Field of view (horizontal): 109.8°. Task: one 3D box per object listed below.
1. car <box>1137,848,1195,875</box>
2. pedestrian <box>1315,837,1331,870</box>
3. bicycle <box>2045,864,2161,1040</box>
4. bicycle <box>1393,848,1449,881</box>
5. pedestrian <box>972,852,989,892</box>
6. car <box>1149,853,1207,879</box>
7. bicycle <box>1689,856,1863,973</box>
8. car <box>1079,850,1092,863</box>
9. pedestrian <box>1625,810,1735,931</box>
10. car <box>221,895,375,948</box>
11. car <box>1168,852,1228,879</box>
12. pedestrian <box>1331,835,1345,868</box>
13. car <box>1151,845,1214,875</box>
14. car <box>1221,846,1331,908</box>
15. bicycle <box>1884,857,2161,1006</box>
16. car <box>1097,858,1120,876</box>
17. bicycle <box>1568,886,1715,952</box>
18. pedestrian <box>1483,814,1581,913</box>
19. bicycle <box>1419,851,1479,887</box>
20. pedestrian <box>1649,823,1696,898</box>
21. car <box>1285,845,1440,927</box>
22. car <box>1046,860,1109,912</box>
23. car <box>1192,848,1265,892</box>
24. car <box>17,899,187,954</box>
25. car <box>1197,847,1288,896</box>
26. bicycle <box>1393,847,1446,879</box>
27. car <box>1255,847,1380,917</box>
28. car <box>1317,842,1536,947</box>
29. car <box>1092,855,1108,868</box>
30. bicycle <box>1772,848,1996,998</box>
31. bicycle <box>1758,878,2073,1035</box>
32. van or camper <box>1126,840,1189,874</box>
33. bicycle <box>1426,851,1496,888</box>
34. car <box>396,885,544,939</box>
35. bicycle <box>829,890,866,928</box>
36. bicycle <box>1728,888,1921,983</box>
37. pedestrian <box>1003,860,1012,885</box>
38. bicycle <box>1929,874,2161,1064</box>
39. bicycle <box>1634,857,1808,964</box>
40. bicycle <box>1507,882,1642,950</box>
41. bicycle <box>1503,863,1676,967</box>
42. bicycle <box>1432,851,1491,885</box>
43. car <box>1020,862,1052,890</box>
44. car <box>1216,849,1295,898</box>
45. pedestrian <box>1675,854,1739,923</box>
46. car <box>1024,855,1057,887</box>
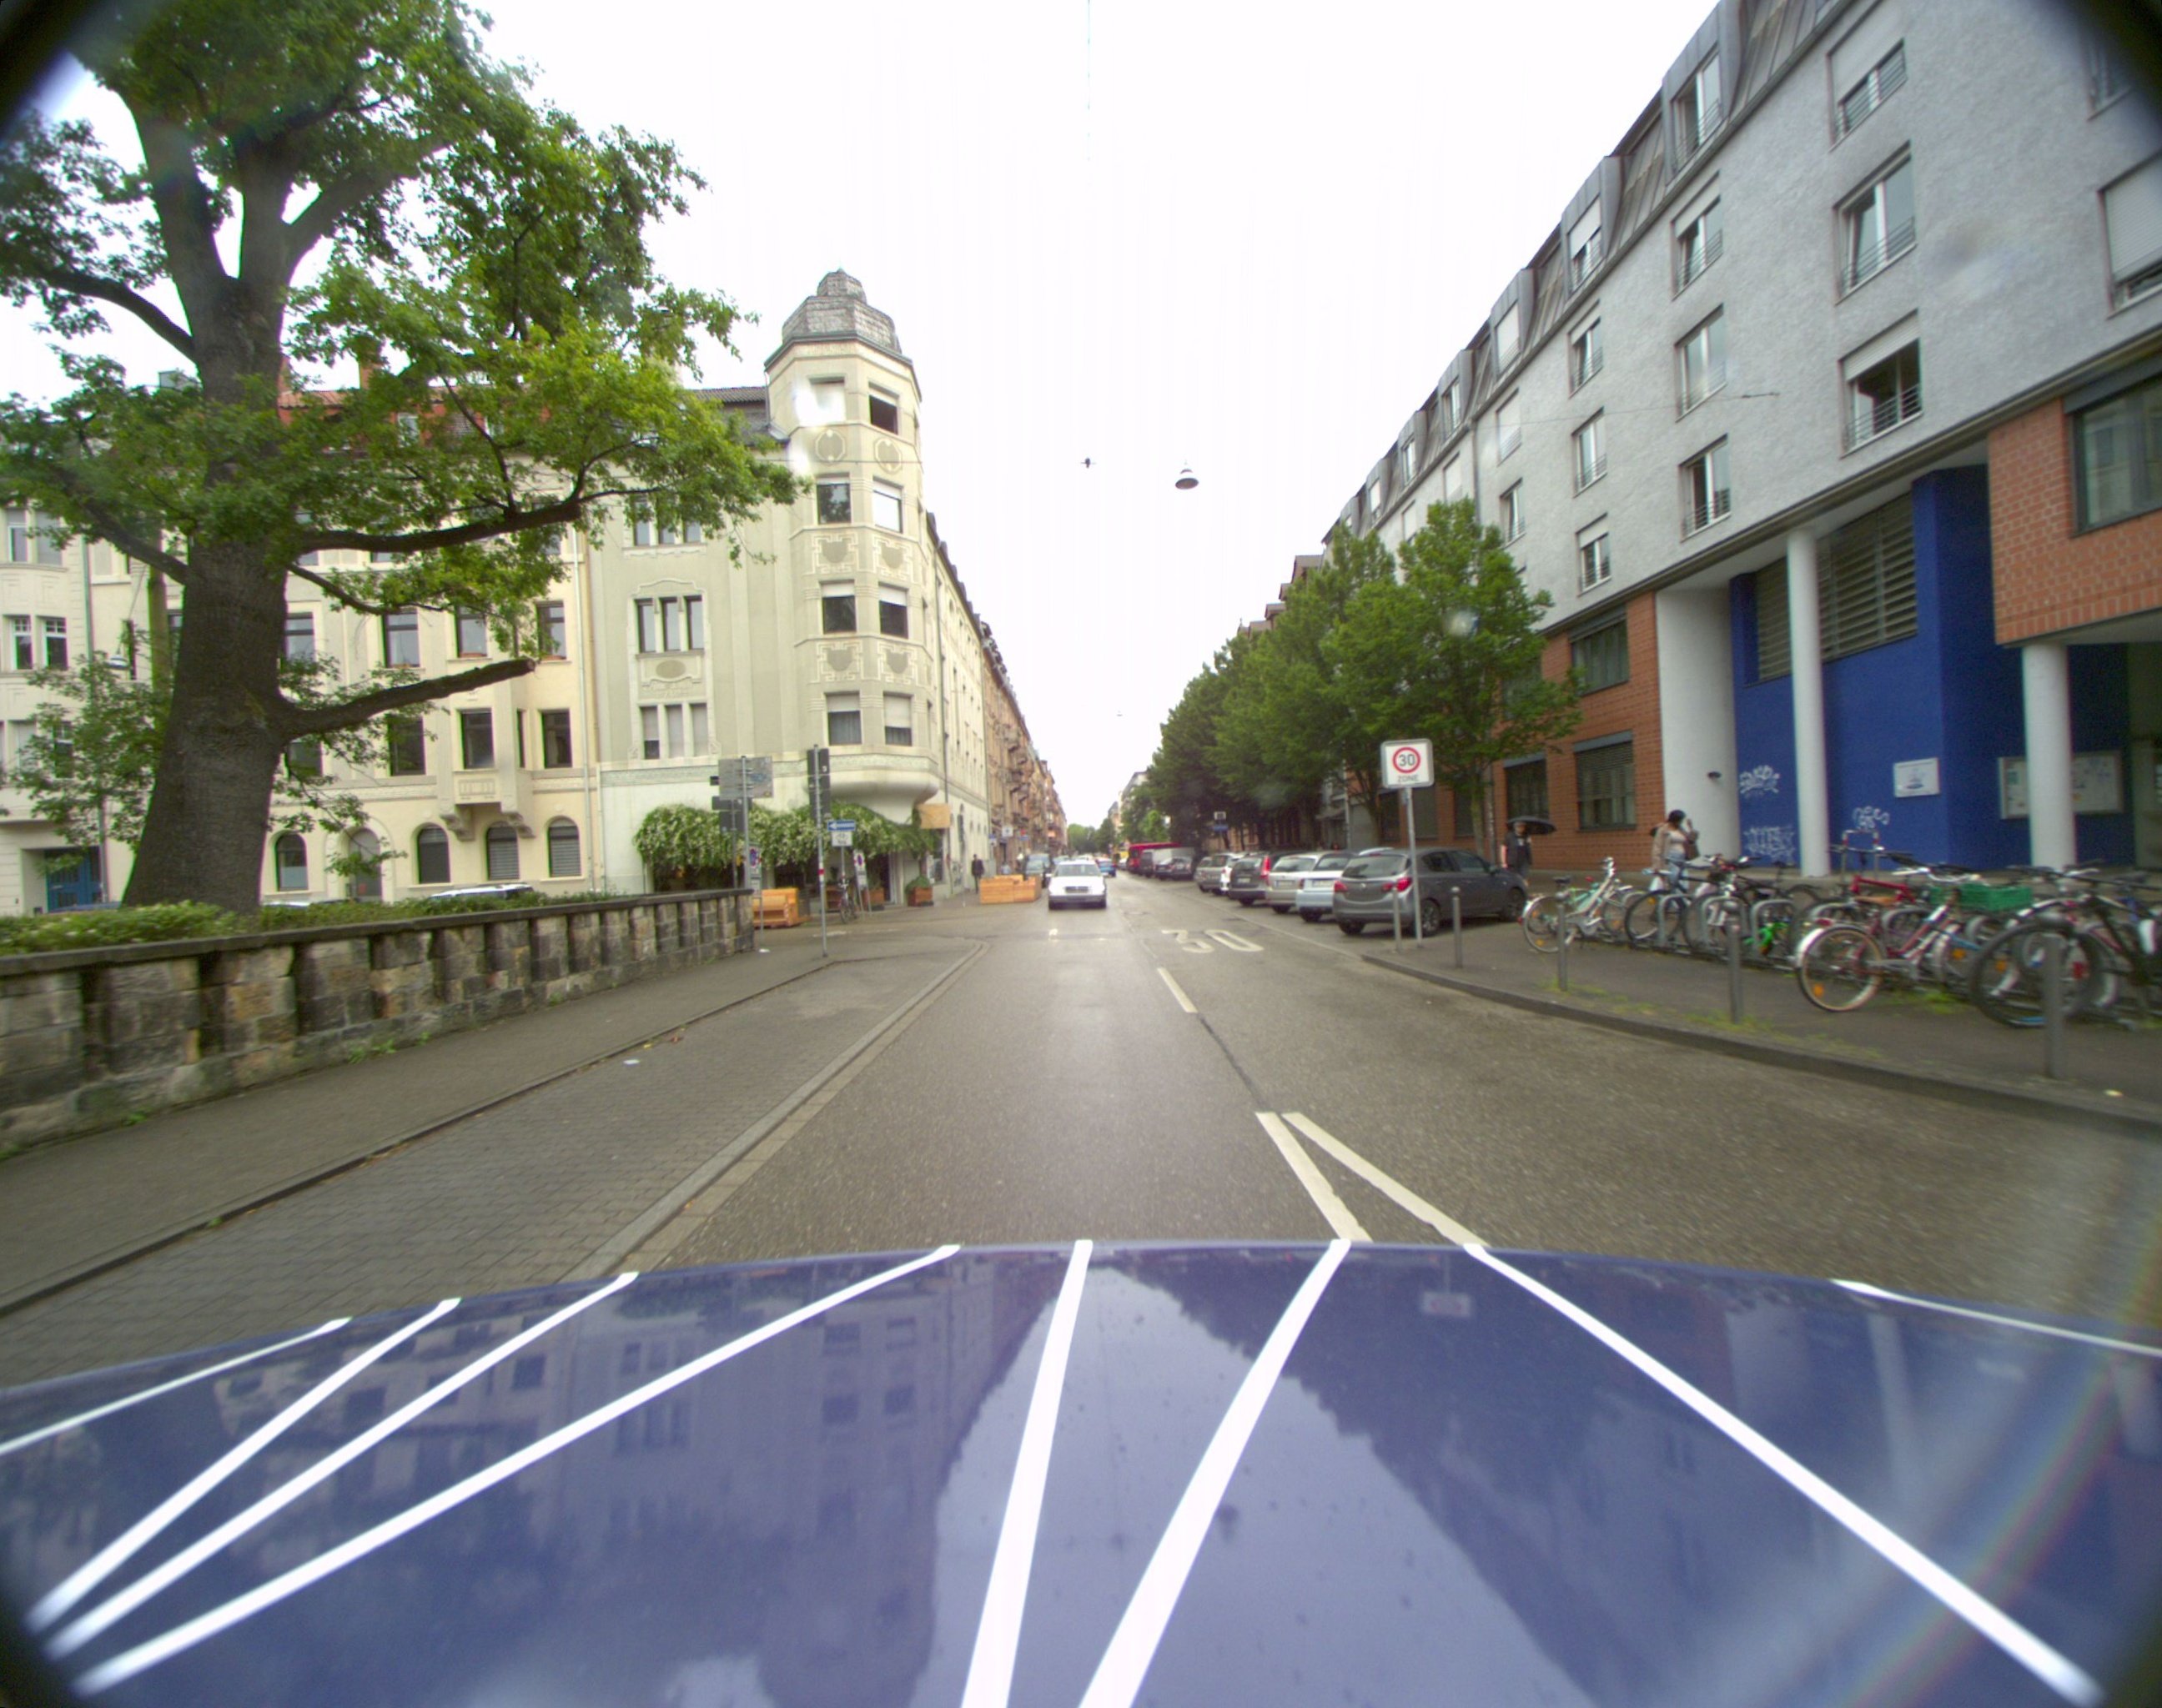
[{"bbox_3d":[6.224,0.554,55.176,4.338,1.822,1.572,-2,0,-40],"label":"car"},{"bbox_3d":[12.015,-0.028,37.710,0.605,1.601,0.372,-2,1,0],"label":"pedestrian"},{"bbox_3d":[7.625,0.647,5.379,1.464,1.058,0.417,-4,1,-15],"label":"bicycle"},{"bbox_3d":[10.931,0.321,24.430,1.590,0.978,0.445,-3,1,-7],"label":"bicycle"},{"bbox_3d":[-4.862,0.859,36.720,0.646,1.862,0.693,-2,1,1],"label":"pedestrian"},{"bbox_3d":[6.086,0.735,47.432,1.685,1.481,3.798,-2,0,41],"label":"car"},{"bbox_3d":[7.548,0.625,8.262,1.611,1.099,0.519,-4,1,-12],"label":"bicycle"},{"bbox_3d":[0.795,0.392,124.046,1.998,2.002,4.000,-2,0,2],"label":"car"},{"bbox_3d":[9.129,0.248,11.622,0.827,1.697,0.859,-7,0,2],"label":"pedestrian"},{"bbox_3d":[-23.794,2.048,23.146,3.270,1.401,1.448,-2,0,4],"label":"car"},{"bbox_3d":[6.977,0.677,44.899,1.685,1.481,3.798,-2,0,41],"label":"car"},{"bbox_3d":[12.738,-0.102,37.647,0.514,1.601,0.425,-2,1,2],"label":"pedestrian"},{"bbox_3d":[6.946,0.422,51.650,4.338,1.884,1.685,-2,0,-40],"label":"car"},{"bbox_3d":[5.666,0.638,21.982,3.084,1.543,1.449,-4,0,-39],"label":"car"},{"bbox_3d":[7.604,0.625,6.151,1.461,1.096,0.462,-4,1,15],"label":"bicycle"},{"bbox_3d":[2.156,1.011,60.435,1.651,1.301,3.311,-2,0,-1],"label":"car"},{"bbox_3d":[7.246,0.838,9.856,1.473,0.717,0.497,-4,1,4],"label":"bicycle"},{"bbox_3d":[9.406,0.187,15.911,1.228,1.870,1.055,-7,0,1],"label":"pedestrian"},{"bbox_3d":[10.908,0.446,22.516,1.590,0.978,0.445,-3,1,-7],"label":"bicycle"},{"bbox_3d":[12.256,0.136,15.745,0.515,1.521,0.548,-2,1,-2],"label":"pedestrian"},{"bbox_3d":[6.116,0.652,16.479,3.082,1.494,1.449,-4,0,-30],"label":"car"},{"bbox_3d":[-0.066,0.962,24.249,1.764,1.420,4.000,-3,0,1],"label":"car"},{"bbox_3d":[5.914,0.632,30.478,2.685,1.546,1.148,-4,0,-28],"label":"car"},{"bbox_3d":[-28.848,2.114,22.443,3.270,1.401,1.448,-2,0,4],"label":"car"},{"bbox_3d":[5.892,0.638,27.721,2.985,1.546,1.370,-4,0,-28],"label":"car"},{"bbox_3d":[11.155,0.293,25.047,1.590,0.978,0.445,-3,1,-7],"label":"bicycle"},{"bbox_3d":[5.974,0.662,19.091,3.084,1.494,1.449,-4,0,-39],"label":"car"},{"bbox_3d":[6.187,0.634,13.550,3.628,1.494,1.736,-4,1,-30],"label":"car"},{"bbox_3d":[2.005,0.828,81.636,1.524,1.301,3.311,-2,0,-1],"label":"car"},{"bbox_3d":[7.405,0.598,7.016,1.815,1.187,0.519,-4,1,-12],"label":"bicycle"},{"bbox_3d":[6.255,0.746,5.736,1.800,0.987,0.520,-4,1,-1],"label":"bicycle"},{"bbox_3d":[6.175,0.240,61.109,4.603,2.597,2.000,-2,0,-26],"label":"van or camper"},{"bbox_3d":[11.028,0.447,22.040,1.850,0.978,0.445,-3,1,-7],"label":"bicycle"},{"bbox_3d":[-18.178,1.710,22.665,3.270,1.401,1.448,-2,0,4],"label":"car"},{"bbox_3d":[-6.867,1.591,22.406,0.390,0.888,2.023,-2,2,1],"label":"bicycle"},{"bbox_3d":[7.445,0.792,7.608,1.773,0.757,0.456,-4,1,-12],"label":"bicycle"},{"bbox_3d":[-4.360,1.111,45.164,0.482,1.452,0.392,-2,1,1],"label":"pedestrian"},{"bbox_3d":[6.819,0.703,4.889,1.857,1.067,0.609,-4,1,6],"label":"bicycle"},{"bbox_3d":[7.483,0.643,8.916,1.610,1.099,0.520,-4,1,-4],"label":"bicycle"},{"bbox_3d":[6.786,0.848,10.491,1.473,0.800,0.497,-4,1,4],"label":"bicycle"},{"bbox_3d":[6.252,0.734,9.371,1.812,1.099,0.472,-4,1,-4],"label":"bicycle"},{"bbox_3d":[11.542,0.419,23.049,1.590,0.978,0.445,-3,1,-7],"label":"bicycle"},{"bbox_3d":[-2.428,1.165,41.254,1.447,1.348,3.204,-2,0,1],"label":"car"},{"bbox_3d":[5.797,0.648,25.213,2.506,1.442,1.191,-4,0,-39],"label":"car"},{"bbox_3d":[10.152,0.550,12.334,0.485,1.044,0.528,-7,0,0],"label":"pedestrian"},{"bbox_3d":[-2.432,1.010,46.038,1.726,1.794,3.462,-2,0,1],"label":"car"}]
